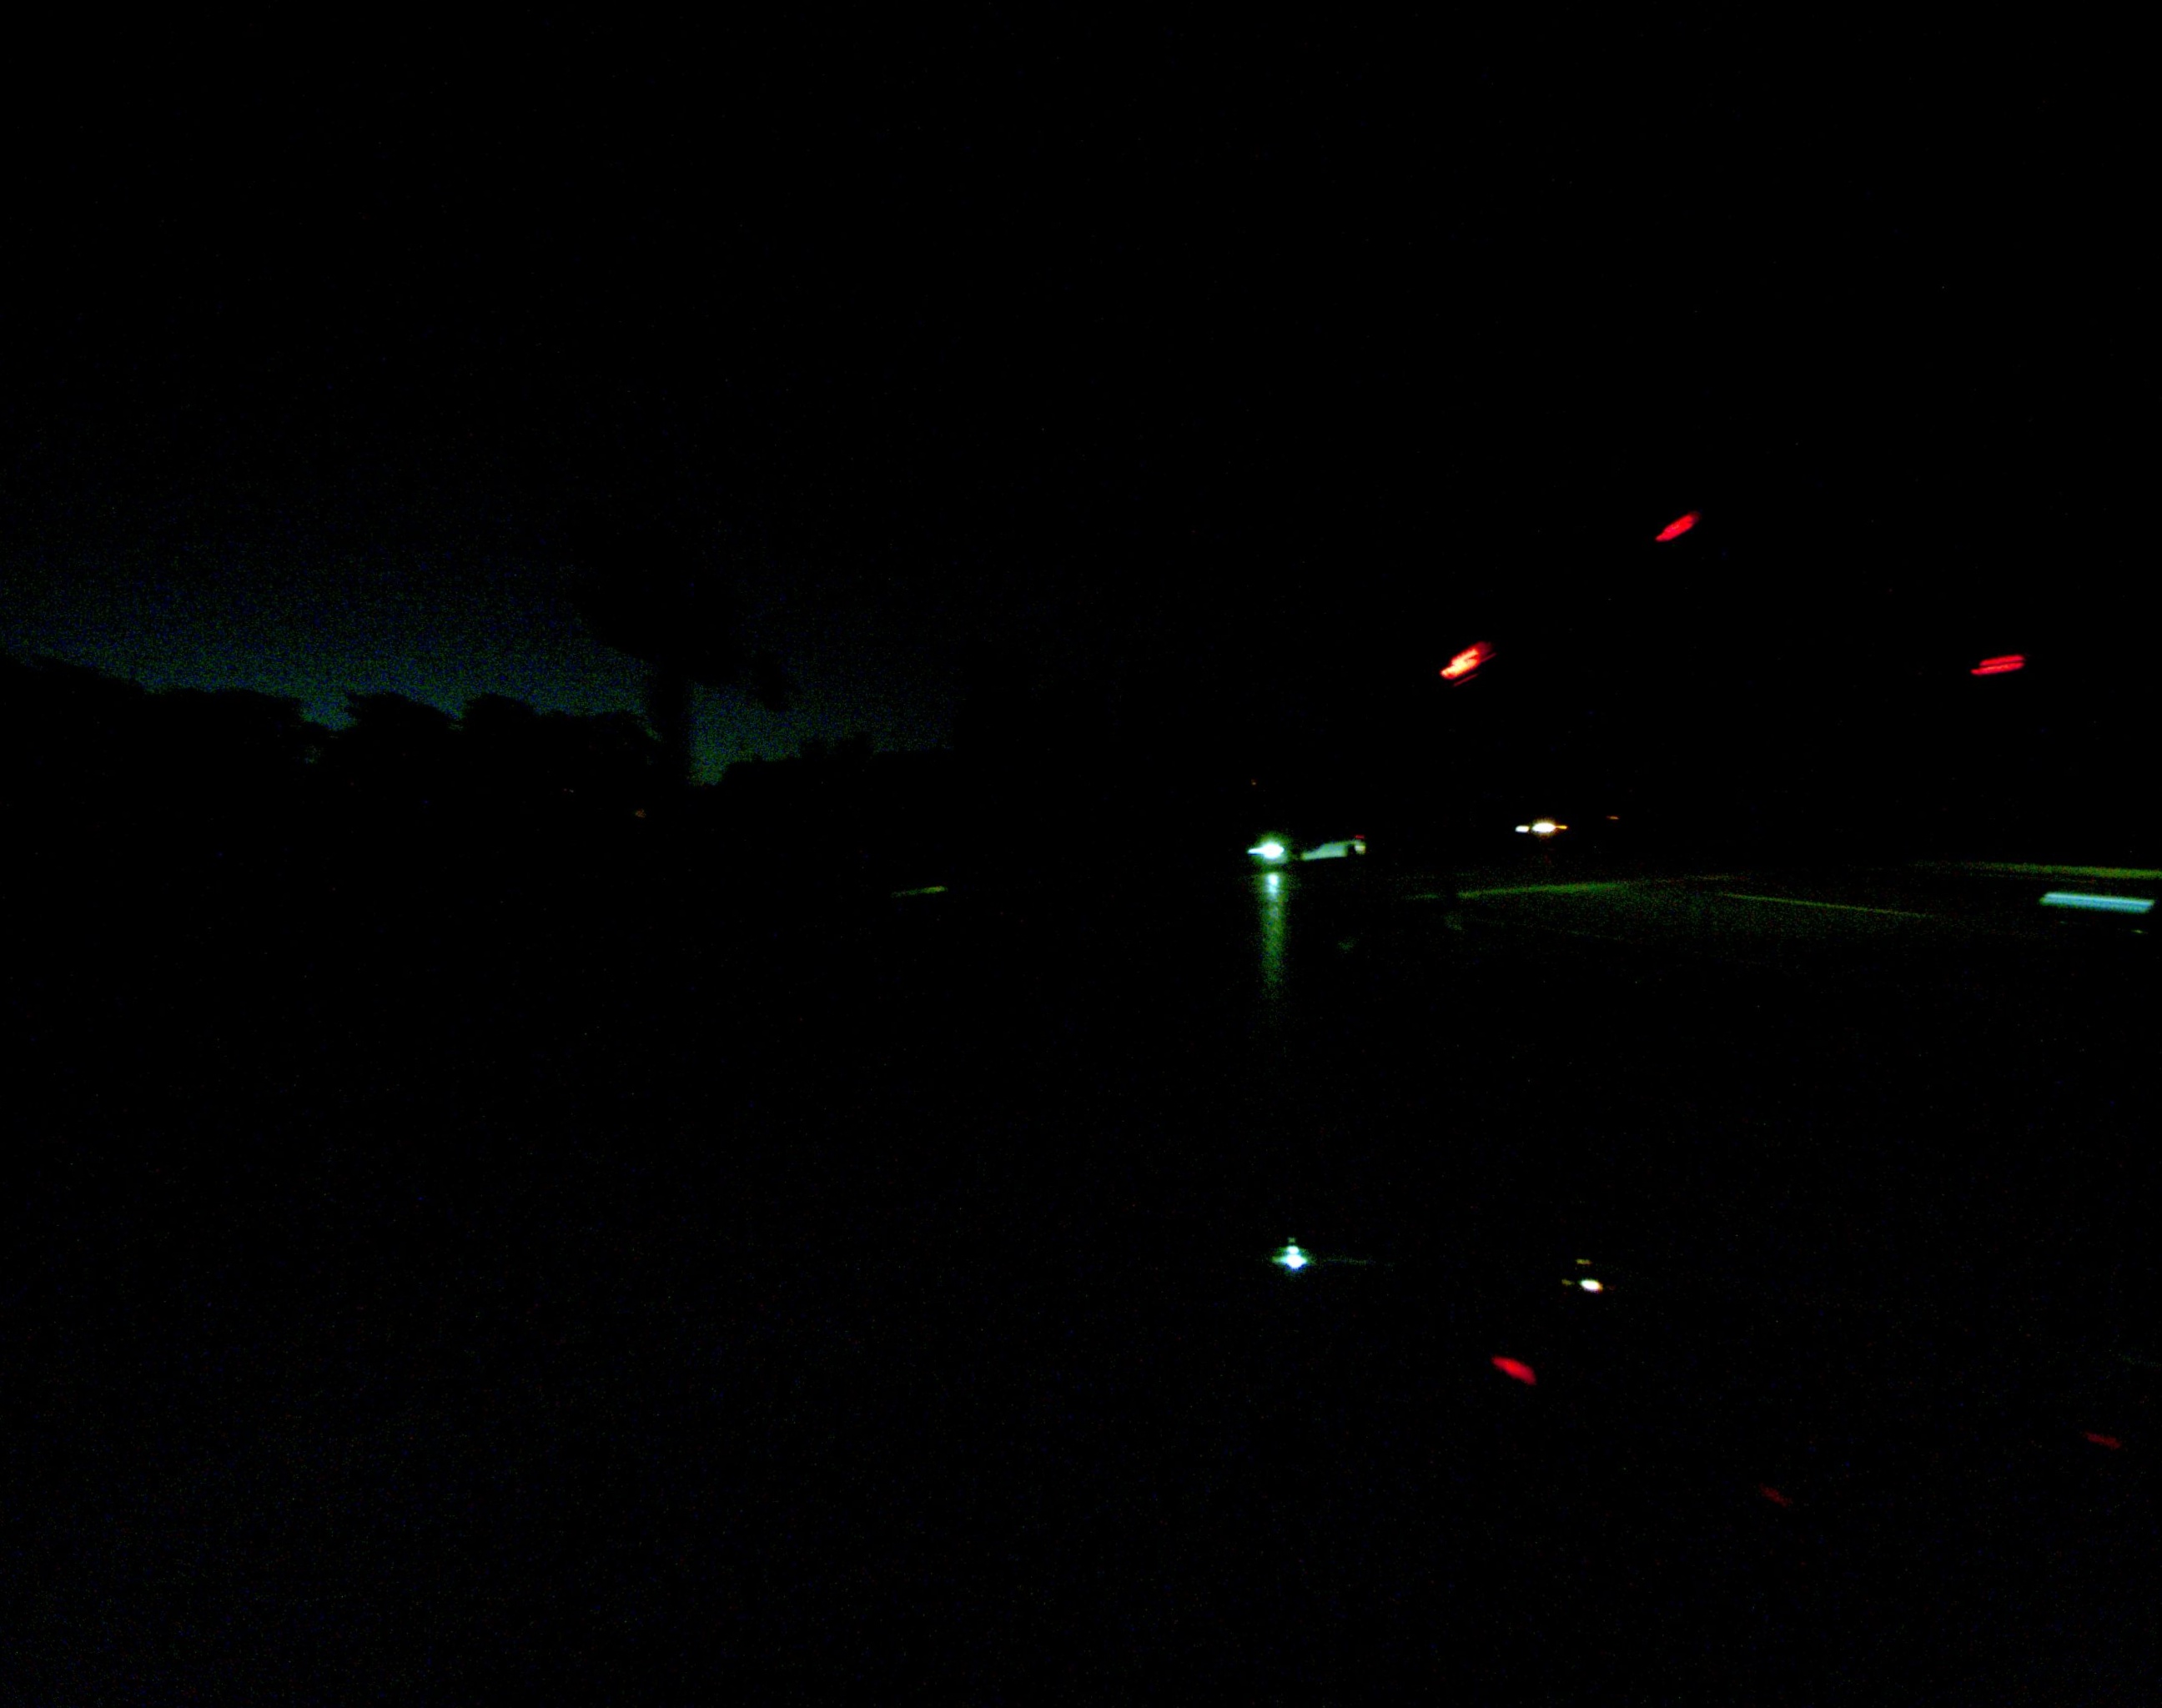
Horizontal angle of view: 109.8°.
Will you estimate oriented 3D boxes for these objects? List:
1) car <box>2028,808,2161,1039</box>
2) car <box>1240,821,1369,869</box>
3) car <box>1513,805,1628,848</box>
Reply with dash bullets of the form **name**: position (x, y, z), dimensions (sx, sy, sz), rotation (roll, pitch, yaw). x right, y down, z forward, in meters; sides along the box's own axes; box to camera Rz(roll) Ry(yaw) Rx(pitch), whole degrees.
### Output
- **car**: position (7.894, 0.479, 3.738), dimensions (1.703, 1.466, 3.869), rotation (-4, 2, 2)
- **car**: position (8.020, -0.324, 27.216), dimensions (4.196, 1.451, 1.761), rotation (-3, 0, -22)
- **car**: position (19.283, -1.075, 30.024), dimensions (3.488, 1.442, 1.657), rotation (-3, 0, -5)
